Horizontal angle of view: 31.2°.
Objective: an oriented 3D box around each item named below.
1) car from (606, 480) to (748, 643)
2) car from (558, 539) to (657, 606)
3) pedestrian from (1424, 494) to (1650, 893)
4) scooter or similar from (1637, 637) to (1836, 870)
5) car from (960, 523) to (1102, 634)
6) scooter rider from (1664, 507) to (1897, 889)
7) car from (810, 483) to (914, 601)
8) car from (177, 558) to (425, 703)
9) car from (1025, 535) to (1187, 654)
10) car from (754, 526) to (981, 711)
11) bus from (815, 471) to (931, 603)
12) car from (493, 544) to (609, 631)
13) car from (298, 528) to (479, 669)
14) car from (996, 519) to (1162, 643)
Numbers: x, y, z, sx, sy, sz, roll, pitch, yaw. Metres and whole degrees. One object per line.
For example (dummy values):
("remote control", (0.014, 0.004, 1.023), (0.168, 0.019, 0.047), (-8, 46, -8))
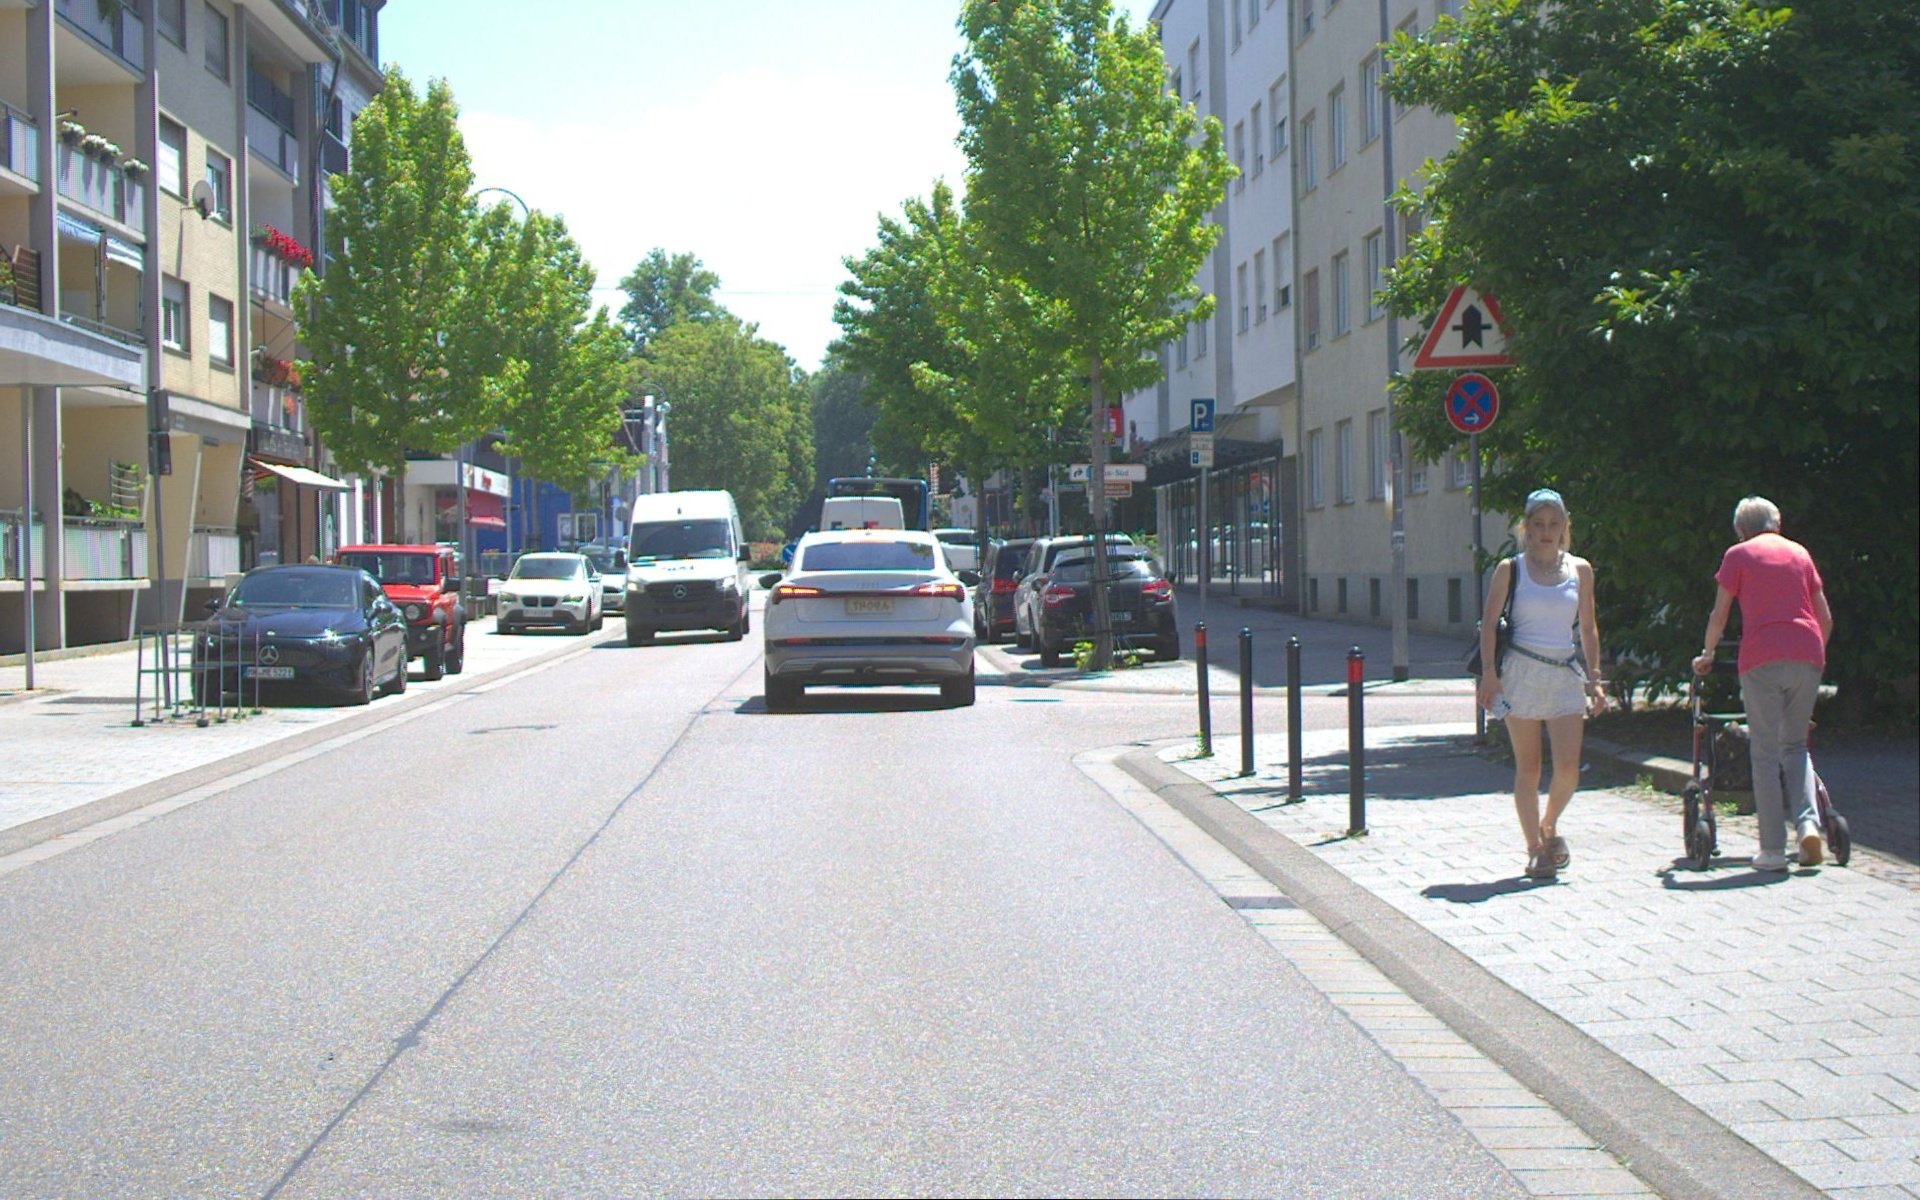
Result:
("car", (-4.916, -0.708, 60.615), (2.036, 2.621, 7.108), (-3, 1, -2))
("car", (-7.987, -0.644, 78.142), (1.752, 1.448, 4.401), (1, 1, 0))
("pedestrian", (2.459, 0.384, 14.722), (0.700, 1.621, 0.784), (-4, 1, -3))
("scooter or similar", (3.423, 0.666, 15.201), (0.663, 0.960, 0.754), (-2, 1, -2))
("car", (1.118, -0.383, 56.358), (1.855, 1.669, 4.538), (-3, 1, -4))
("scooter rider", (3.443, 0.394, 14.479), (0.716, 1.543, 0.770), (-2, 1, -3))
("car", (-2.122, -1.251, 74.956), (2.156, 2.433, 5.284), (1, 1, -1))
("car", (-7.093, 0.279, 37.504), (1.896, 1.412, 5.048), (1, 1, -2))
("car", (1.855, -0.113, 44.886), (1.896, 1.433, 4.544), (-1, 1, 0))
("car", (-0.916, 0.129, 32.363), (1.993, 1.627, 4.001), (0, 1, -3))
("bus", (-2.182, -1.598, 88.699), (2.661, 3.210, 7.301), (1, 1, 1))
("car", (-7.970, -0.275, 67.276), (1.752, 1.612, 4.401), (1, 1, -1))
("car", (-7.252, -0.053, 43.973), (1.752, 1.696, 4.102), (1, 1, -2))
("car", (1.712, -0.311, 51.025), (1.896, 1.669, 4.691), (-3, 1, -4))
